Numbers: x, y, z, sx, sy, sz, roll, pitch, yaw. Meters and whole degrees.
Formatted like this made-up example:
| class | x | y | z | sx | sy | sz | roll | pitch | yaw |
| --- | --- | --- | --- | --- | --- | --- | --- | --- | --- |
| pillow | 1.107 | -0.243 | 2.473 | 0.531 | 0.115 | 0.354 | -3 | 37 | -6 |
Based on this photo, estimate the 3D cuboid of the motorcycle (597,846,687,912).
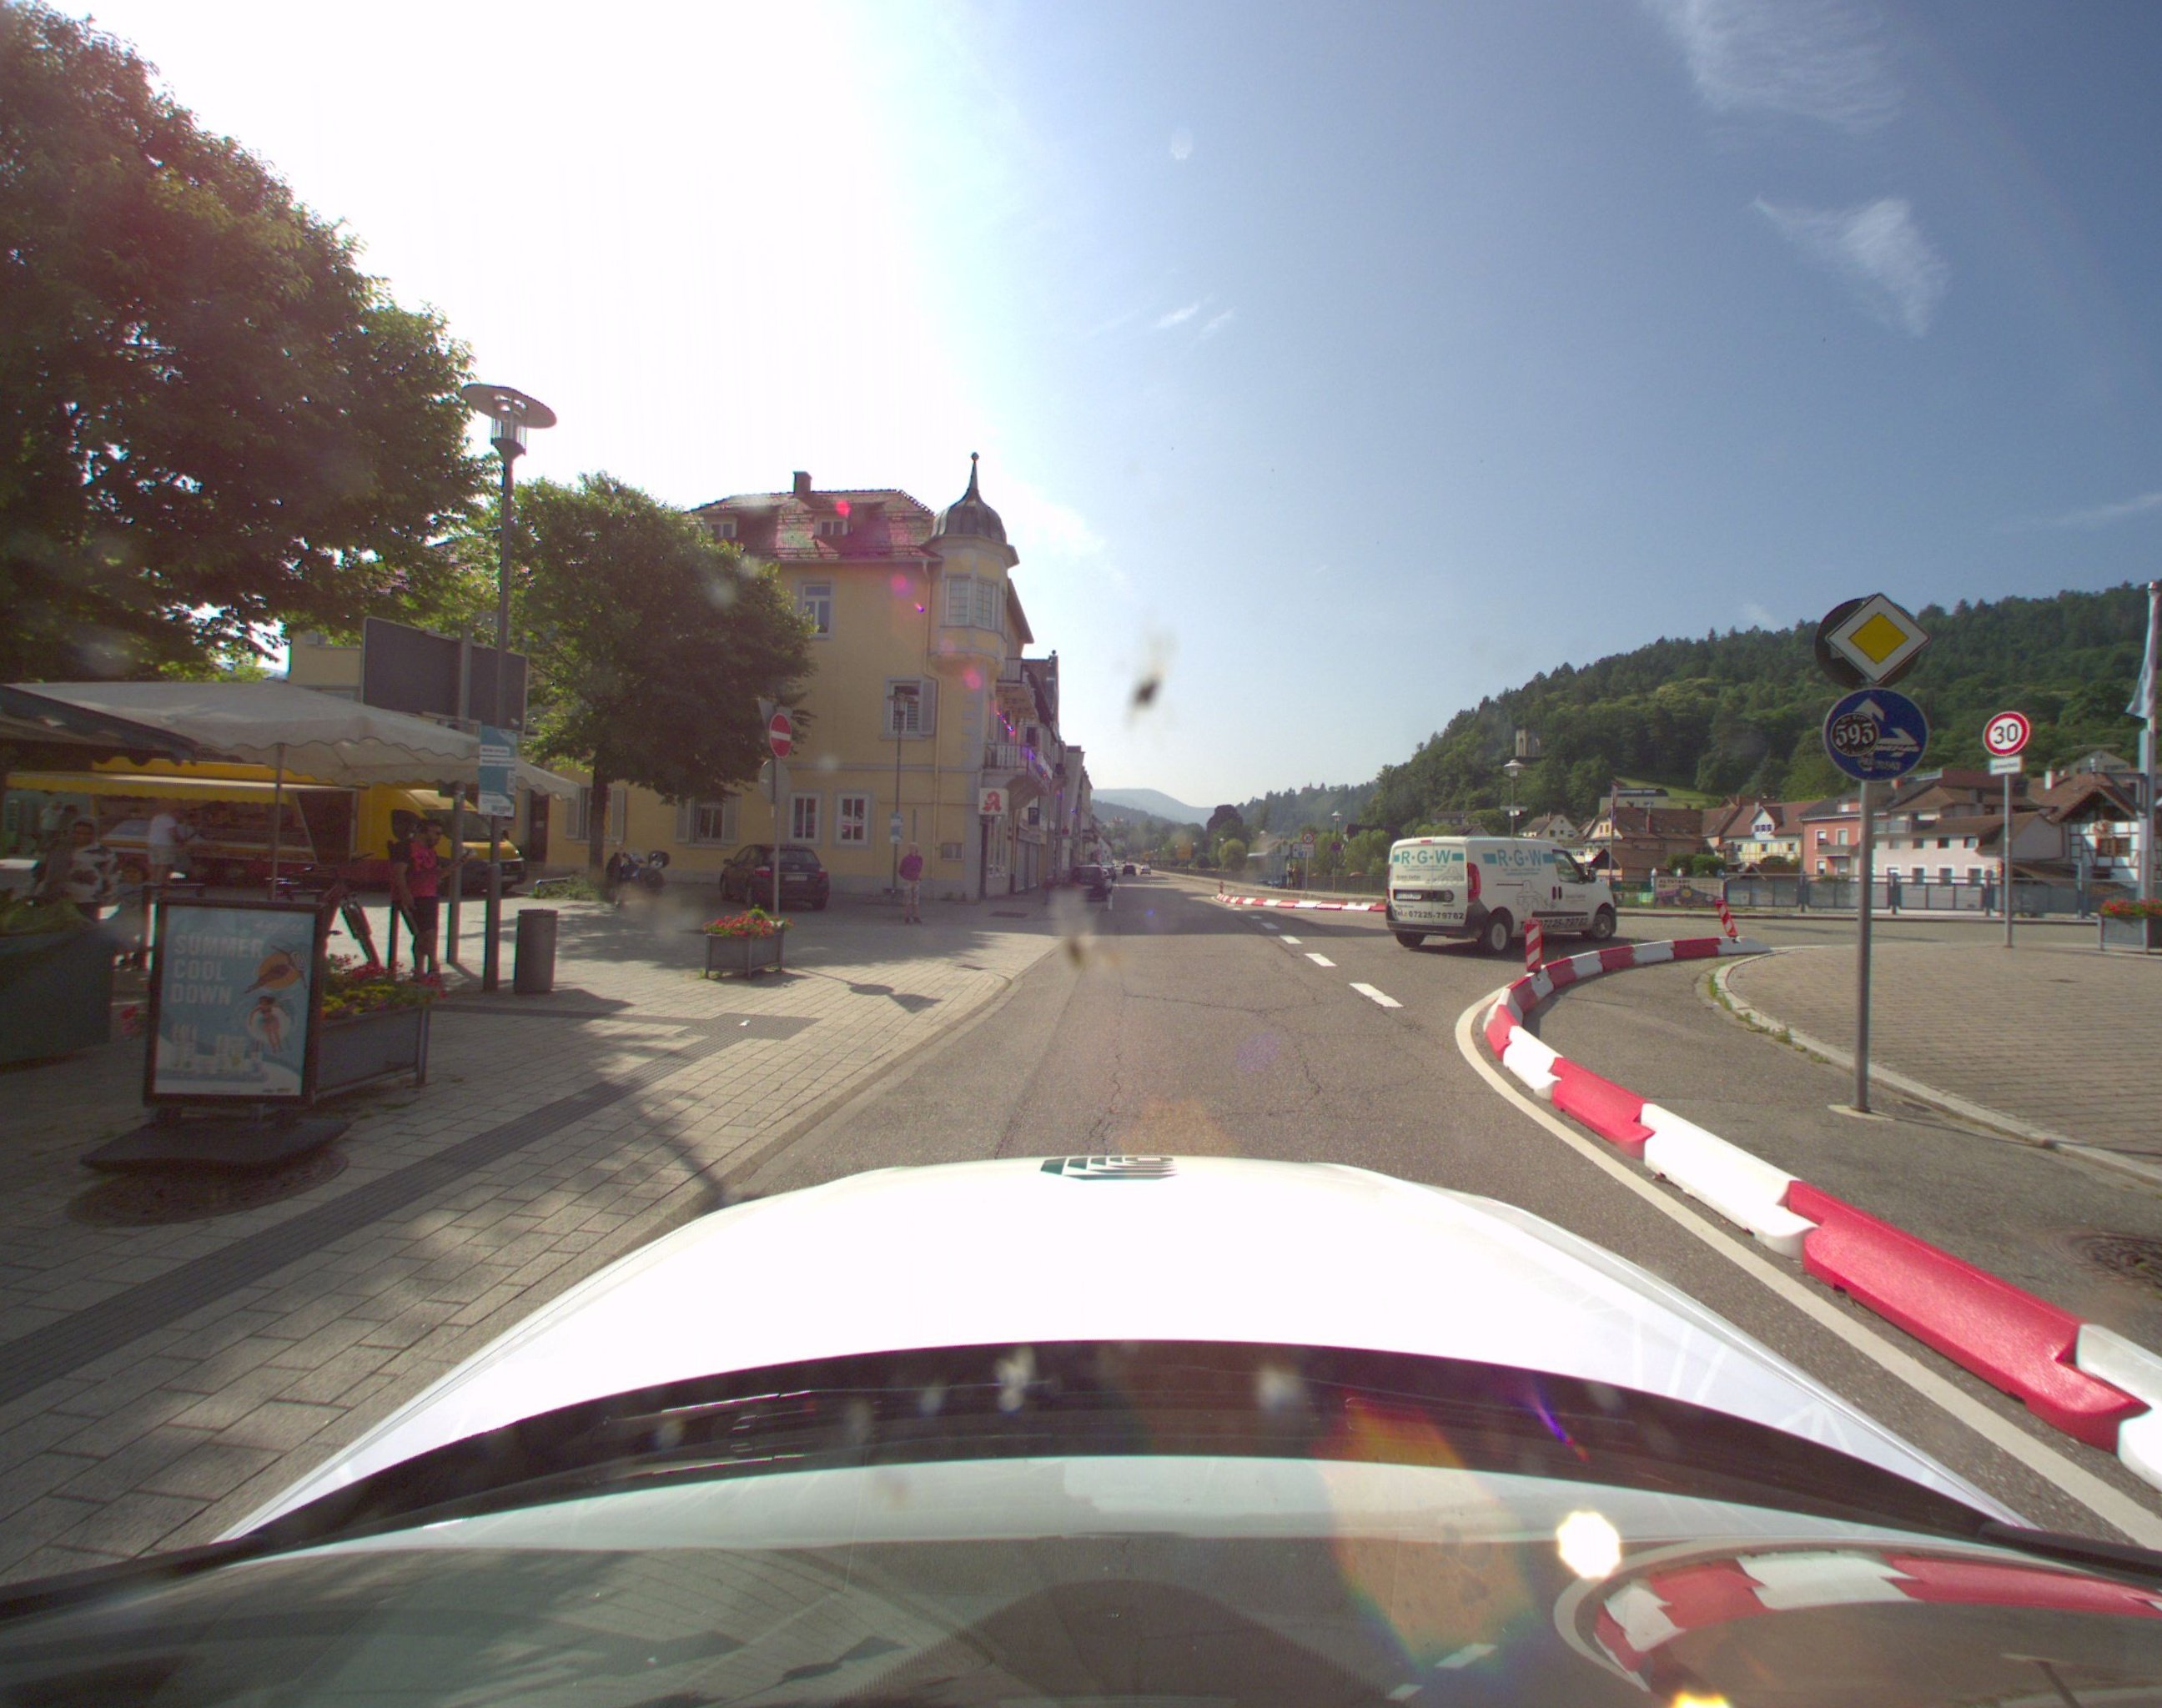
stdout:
| class | x | y | z | sx | sy | sz | roll | pitch | yaw |
| --- | --- | --- | --- | --- | --- | --- | --- | --- | --- |
| motorcycle | -10.017 | 0.536 | 18.684 | 0.882 | 1.360 | 2.089 | 1 | 2 | 2 |

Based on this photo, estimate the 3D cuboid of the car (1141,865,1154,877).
| class | x | y | z | sx | sy | sz | roll | pitch | yaw |
| --- | --- | --- | --- | --- | --- | --- | --- | --- | --- |
| car | 10.534 | 2.691 | 129.410 | 1.985 | 1.662 | 4.003 | 2 | 0 | 3 |

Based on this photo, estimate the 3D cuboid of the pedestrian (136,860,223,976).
| class | x | y | z | sx | sy | sz | roll | pitch | yaw |
| --- | --- | --- | --- | --- | --- | --- | --- | --- | --- |
| pedestrian | -9.521 | 0.651 | 8.619 | 0.519 | 1.160 | 0.615 | 1 | -1 | -40 |

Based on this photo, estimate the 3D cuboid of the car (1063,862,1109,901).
| class | x | y | z | sx | sy | sz | roll | pitch | yaw |
| --- | --- | --- | --- | --- | --- | --- | --- | --- | --- |
| car | 0.253 | 1.159 | 34.999 | 1.840 | 1.568 | 3.569 | 0 | -1 | 2 |

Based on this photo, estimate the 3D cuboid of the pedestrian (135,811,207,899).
| class | x | y | z | sx | sy | sz | roll | pitch | yaw |
| --- | --- | --- | --- | --- | --- | --- | --- | --- | --- |
| pedestrian | -19.120 | 0.008 | 17.130 | 0.723 | 1.786 | 0.680 | 2 | 1 | -6 |

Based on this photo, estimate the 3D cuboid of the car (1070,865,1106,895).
| class | x | y | z | sx | sy | sz | roll | pitch | yaw |
| --- | --- | --- | --- | --- | --- | --- | --- | --- | --- |
| car | 0.404 | 1.300 | 41.164 | 1.740 | 1.448 | 3.277 | 0 | -1 | 2 |

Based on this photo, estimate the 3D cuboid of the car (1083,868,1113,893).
| class | x | y | z | sx | sy | sz | roll | pitch | yaw |
| --- | --- | --- | --- | --- | --- | --- | --- | --- | --- |
| car | 1.052 | 1.551 | 49.068 | 1.740 | 1.448 | 3.796 | 0 | -1 | 2 |

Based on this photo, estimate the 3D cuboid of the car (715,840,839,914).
| class | x | y | z | sx | sy | sz | roll | pitch | yaw |
| --- | --- | --- | --- | --- | --- | --- | --- | --- | --- |
| car | -7.501 | 0.497 | 19.883 | 1.931 | 1.543 | 3.918 | 2 | 1 | -34 |

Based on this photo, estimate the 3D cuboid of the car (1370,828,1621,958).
| class | x | y | z | sx | sy | sz | roll | pitch | yaw |
| --- | --- | --- | --- | --- | --- | --- | --- | --- | --- |
| car | 7.133 | 0.524 | 13.909 | 4.329 | 1.906 | 1.832 | -1 | 1 | -31 |

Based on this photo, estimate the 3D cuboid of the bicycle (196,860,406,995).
| class | x | y | z | sx | sy | sz | roll | pitch | yaw |
| --- | --- | --- | --- | --- | --- | --- | --- | --- | --- |
| bicycle | -7.988 | 0.689 | 8.474 | 0.615 | 1.235 | 1.856 | 1 | 0 | -10 |

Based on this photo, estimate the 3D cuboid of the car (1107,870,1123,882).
| class | x | y | z | sx | sy | sz | roll | pitch | yaw |
| --- | --- | --- | --- | --- | --- | --- | --- | --- | --- |
| car | 3.507 | 2.279 | 84.743 | 1.558 | 1.220 | 3.277 | 0 | -1 | 2 |

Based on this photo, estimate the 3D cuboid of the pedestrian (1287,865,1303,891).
| class | x | y | z | sx | sy | sz | roll | pitch | yaw |
| --- | --- | --- | --- | --- | --- | --- | --- | --- | --- |
| pedestrian | 13.862 | 1.552 | 52.747 | 0.863 | 1.706 | 0.778 | 1 | -1 | 4 |

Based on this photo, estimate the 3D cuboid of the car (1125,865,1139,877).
| class | x | y | z | sx | sy | sz | roll | pitch | yaw |
| --- | --- | --- | --- | --- | --- | --- | --- | --- | --- |
| car | 7.417 | 2.483 | 119.675 | 1.985 | 1.662 | 4.003 | 2 | 0 | 3 |

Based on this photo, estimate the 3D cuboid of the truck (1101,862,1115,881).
| class | x | y | z | sx | sy | sz | roll | pitch | yaw |
| --- | --- | --- | --- | --- | --- | --- | --- | --- | --- |
| truck | 3.532 | 2.267 | 107.364 | 1.740 | 2.468 | 4.662 | 0 | -1 | 2 |

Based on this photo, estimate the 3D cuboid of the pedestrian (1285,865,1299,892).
| class | x | y | z | sx | sy | sz | roll | pitch | yaw |
| --- | --- | --- | --- | --- | --- | --- | --- | --- | --- |
| pedestrian | 13.850 | 1.600 | 53.398 | 0.786 | 1.706 | 0.492 | 1 | -1 | 4 |

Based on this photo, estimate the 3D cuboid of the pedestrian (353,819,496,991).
| class | x | y | z | sx | sy | sz | roll | pitch | yaw |
| --- | --- | --- | --- | --- | --- | --- | --- | --- | --- |
| pedestrian | -6.743 | 0.513 | 8.414 | 0.566 | 1.659 | 0.886 | 1 | -3 | 13 |

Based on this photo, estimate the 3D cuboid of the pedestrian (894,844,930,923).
| class | x | y | z | sx | sy | sz | roll | pitch | yaw |
| --- | --- | --- | --- | --- | --- | --- | --- | --- | --- |
| pedestrian | -3.715 | 0.638 | 17.885 | 0.680 | 1.714 | 0.614 | 2 | 0 | -18 |

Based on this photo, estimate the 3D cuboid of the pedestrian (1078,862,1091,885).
| class | x | y | z | sx | sy | sz | roll | pitch | yaw |
| --- | --- | --- | --- | --- | --- | --- | --- | --- | --- |
| pedestrian | 0.275 | 1.405 | 59.444 | 0.682 | 1.696 | 0.664 | 0 | -1 | 30 |

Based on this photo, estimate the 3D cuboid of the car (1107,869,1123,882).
| class | x | y | z | sx | sy | sz | roll | pitch | yaw |
| --- | --- | --- | --- | --- | --- | --- | --- | --- | --- |
| car | 3.783 | 2.396 | 90.650 | 1.740 | 1.448 | 3.277 | 0 | -1 | 2 |

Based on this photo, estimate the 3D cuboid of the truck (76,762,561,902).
| class | x | y | z | sx | sy | sz | roll | pitch | yaw |
| --- | --- | --- | --- | --- | --- | --- | --- | --- | --- |
| truck | -17.791 | -0.503 | 19.443 | 8.797 | 2.758 | 3.013 | 2 | 0 | 2 |

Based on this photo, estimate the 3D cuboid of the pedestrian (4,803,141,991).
| class | x | y | z | sx | sy | sz | roll | pitch | yaw |
| --- | --- | --- | --- | --- | --- | --- | --- | --- | --- |
| pedestrian | -9.872 | 0.403 | 8.010 | 0.711 | 1.724 | 0.778 | 2 | -1 | -43 |
